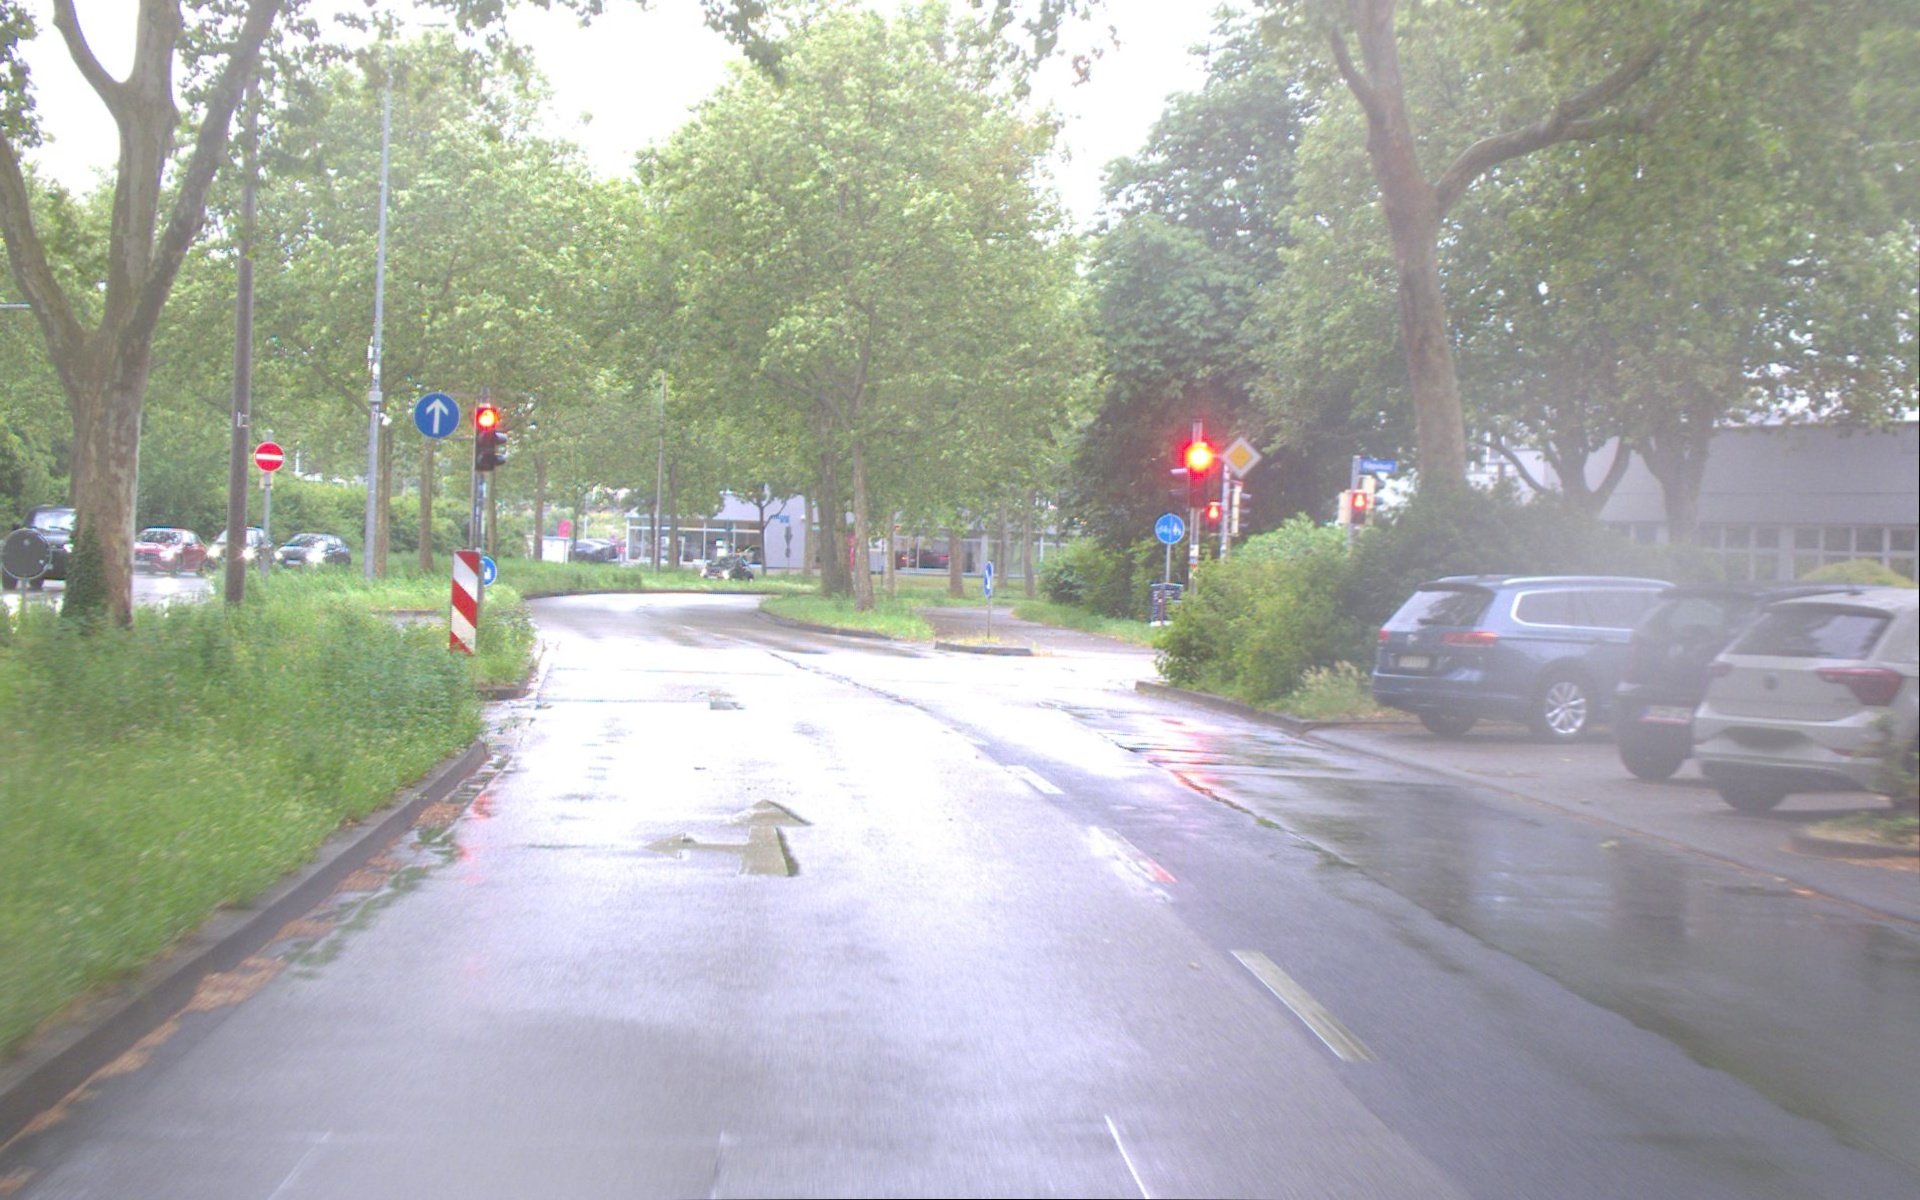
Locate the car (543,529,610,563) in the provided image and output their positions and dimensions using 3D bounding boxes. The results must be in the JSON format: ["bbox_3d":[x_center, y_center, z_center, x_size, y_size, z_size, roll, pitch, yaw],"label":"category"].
[{"bbox_3d":[-24.808,-3.483,222.428,3.985,2.007,2.001,2,-1,-15],"label":"car"}]

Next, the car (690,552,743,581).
[{"bbox_3d":[-11.762,-1.619,166.495,1.588,1.368,4.260,2,1,9],"label":"car"}]

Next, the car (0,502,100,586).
[{"bbox_3d":[-20.950,-1.296,78.975,1.743,1.835,5.122,1,1,-8],"label":"car"}]

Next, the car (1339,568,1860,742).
[{"bbox_3d":[5.794,0.499,31.045,4.481,1.454,1.749,1,1,-28],"label":"car"}]

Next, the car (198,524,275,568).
[{"bbox_3d":[-23.763,-1.766,113.015,1.587,1.368,3.333,2,1,4],"label":"car"}]

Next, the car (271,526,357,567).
[{"bbox_3d":[-22.612,-1.852,120.491,1.588,1.368,4.260,2,1,9],"label":"car"}]

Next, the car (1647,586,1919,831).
[{"bbox_3d":[6.403,0.664,22.016,3.680,1.411,1.776,1,1,-32],"label":"car"}]

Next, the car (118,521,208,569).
[{"bbox_3d":[-24.157,-1.666,104.326,1.743,1.403,4.445,1,1,-1],"label":"car"}]

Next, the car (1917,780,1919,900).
[{"bbox_3d":[6.609,0.772,16.470,3.680,1.411,1.749,1,1,-28],"label":"car"}]

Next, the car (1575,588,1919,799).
[{"bbox_3d":[6.525,0.665,25.299,3.680,1.411,1.749,1,1,-32],"label":"car"}]
